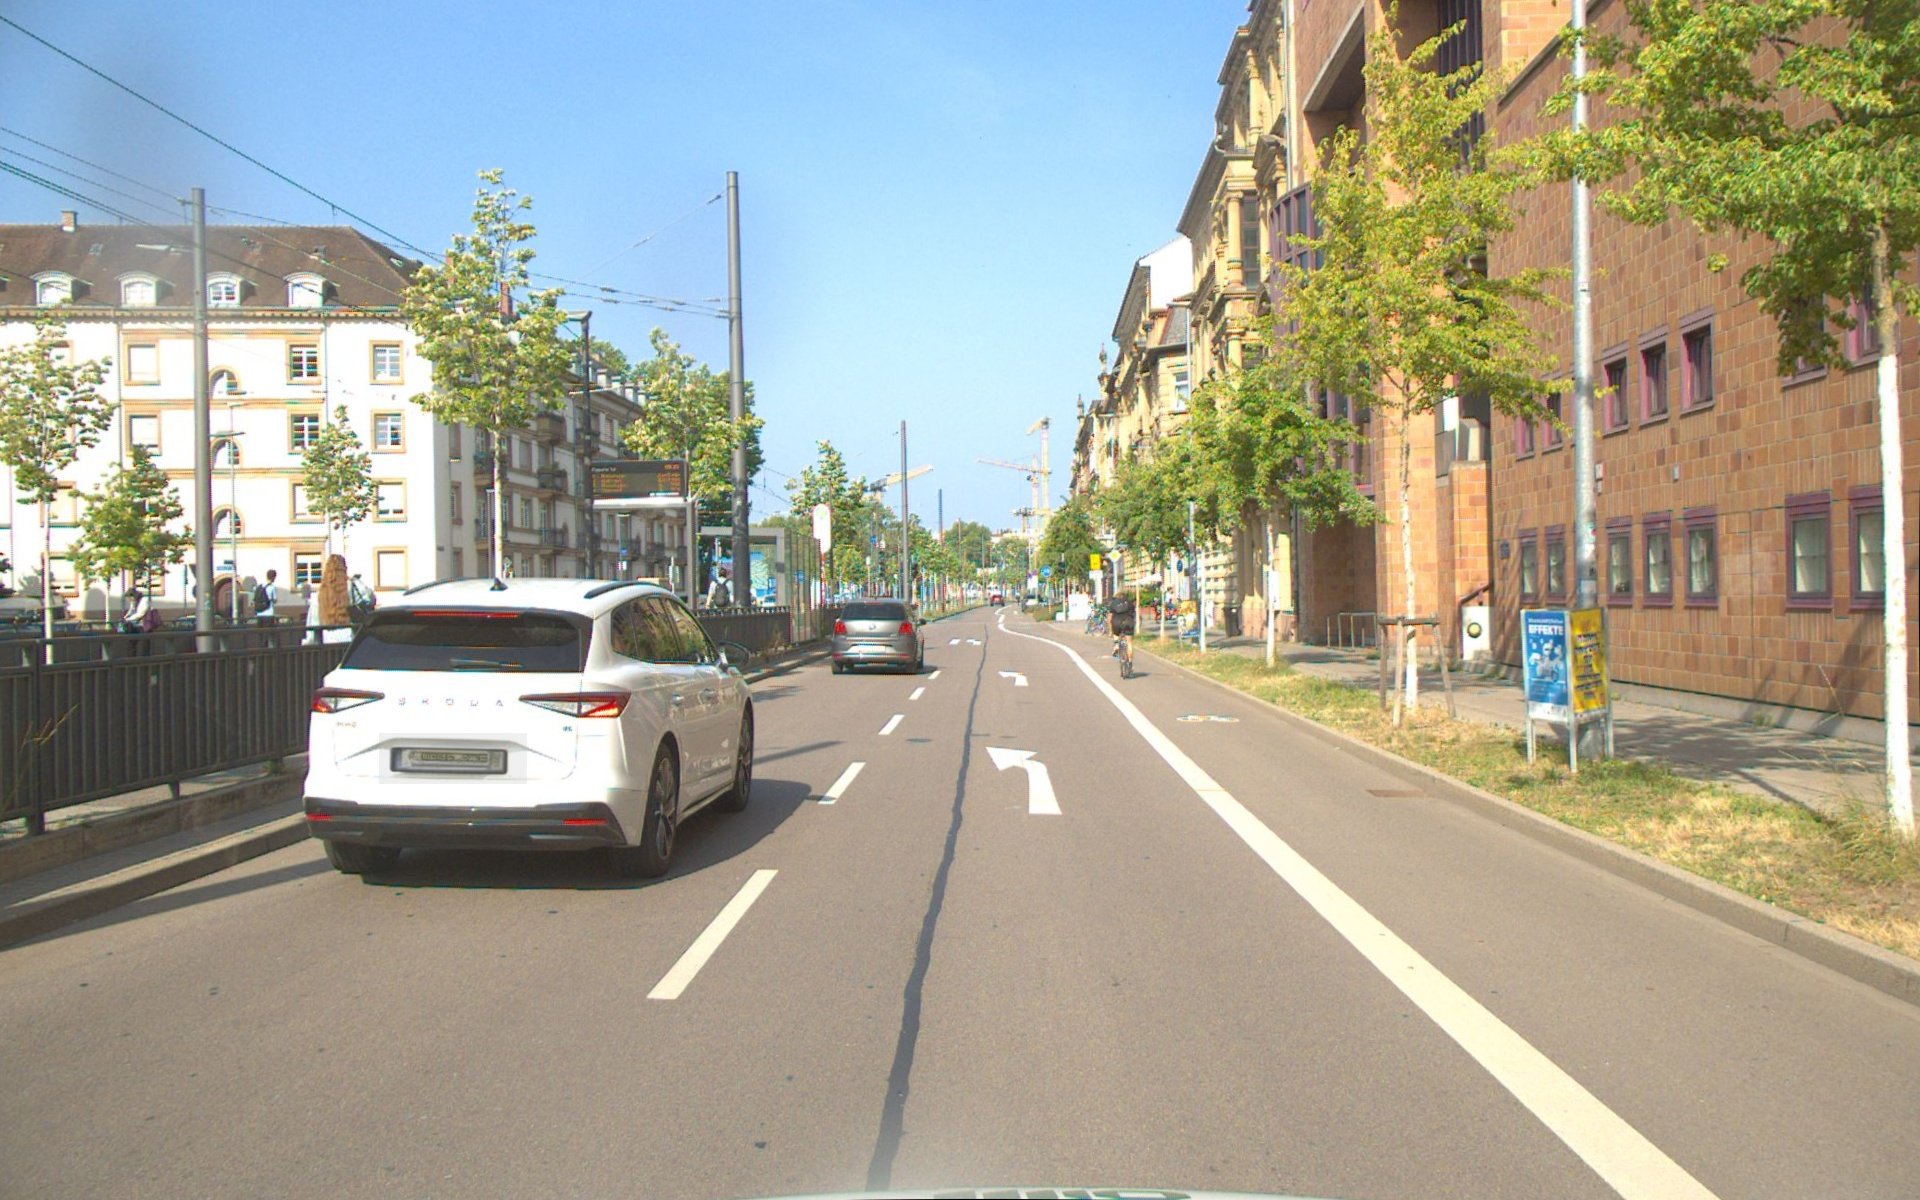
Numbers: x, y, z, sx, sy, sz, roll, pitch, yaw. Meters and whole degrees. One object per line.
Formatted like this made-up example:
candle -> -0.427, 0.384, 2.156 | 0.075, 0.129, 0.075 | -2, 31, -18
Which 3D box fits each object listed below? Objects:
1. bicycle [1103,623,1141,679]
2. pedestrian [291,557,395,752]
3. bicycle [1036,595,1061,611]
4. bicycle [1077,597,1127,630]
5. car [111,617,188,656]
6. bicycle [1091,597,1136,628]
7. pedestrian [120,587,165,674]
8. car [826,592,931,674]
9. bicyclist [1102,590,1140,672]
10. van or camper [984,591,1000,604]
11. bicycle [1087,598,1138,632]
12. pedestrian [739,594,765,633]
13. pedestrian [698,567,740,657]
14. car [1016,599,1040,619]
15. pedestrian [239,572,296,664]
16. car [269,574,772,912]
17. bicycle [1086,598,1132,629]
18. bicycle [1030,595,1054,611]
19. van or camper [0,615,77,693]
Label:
bicycle -> 3.079, 0.950, 31.493 | 0.495, 0.970, 1.784 | 2, 1, -1
pedestrian -> -5.800, 0.502, 15.581 | 0.659, 1.788, 0.727 | 1, -1, 1
bicycle -> 6.641, 0.219, 124.597 | 1.771, 1.115, 0.671 | -3, 0, -4
bicycle -> 5.470, 0.529, 63.773 | 1.731, 1.106, 0.668 | -5, 0, -21
car -> -35.802, 1.607, 73.181 | 1.640, 1.559, 3.923 | -2, 0, -4
bicycle -> 6.190, 0.508, 66.615 | 1.715, 1.106, 0.583 | -4, 0, 5
pedestrian -> -15.085, 0.553, 30.507 | 0.668, 1.557, 0.804 | -1, 0, -29
car -> -1.554, 0.609, 33.056 | 1.717, 1.510, 4.408 | -1, 0, 2
bicyclist -> 3.076, 0.578, 31.603 | 0.572, 1.508, 0.931 | 2, 1, -1
van or camper -> 4.255, -0.318, 219.586 | 1.952, 1.684, 4.001 | -2, 0, 1
bicycle -> 5.632, 0.561, 61.059 | 1.723, 1.106, 0.610 | -5, 0, -8
pedestrian -> -10.549, 0.686, 83.757 | 1.055, 1.900, 0.857 | -1, 0, -26
pedestrian -> -5.612, 0.279, 38.537 | 0.816, 2.049, 1.028 | 1, -1, -2
car -> 6.065, 0.785, 147.460 | 1.734, 1.616, 4.246 | -3, 0, -2
pedestrian -> -14.736, 0.376, 35.215 | 0.723, 1.905, 0.940 | -2, 0, 3
car -> -2.383, 0.689, 10.207 | 1.779, 1.617, 4.408 | -1, 0, 2
bicycle -> 5.905, 0.533, 65.366 | 1.718, 1.106, 0.669 | -4, 0, 7
bicycle -> 6.220, 0.217, 125.900 | 1.748, 1.072, 0.373 | -3, 0, 0
van or camper -> -26.196, 1.477, 44.984 | 1.889, 2.002, 4.003 | -2, 0, 6
